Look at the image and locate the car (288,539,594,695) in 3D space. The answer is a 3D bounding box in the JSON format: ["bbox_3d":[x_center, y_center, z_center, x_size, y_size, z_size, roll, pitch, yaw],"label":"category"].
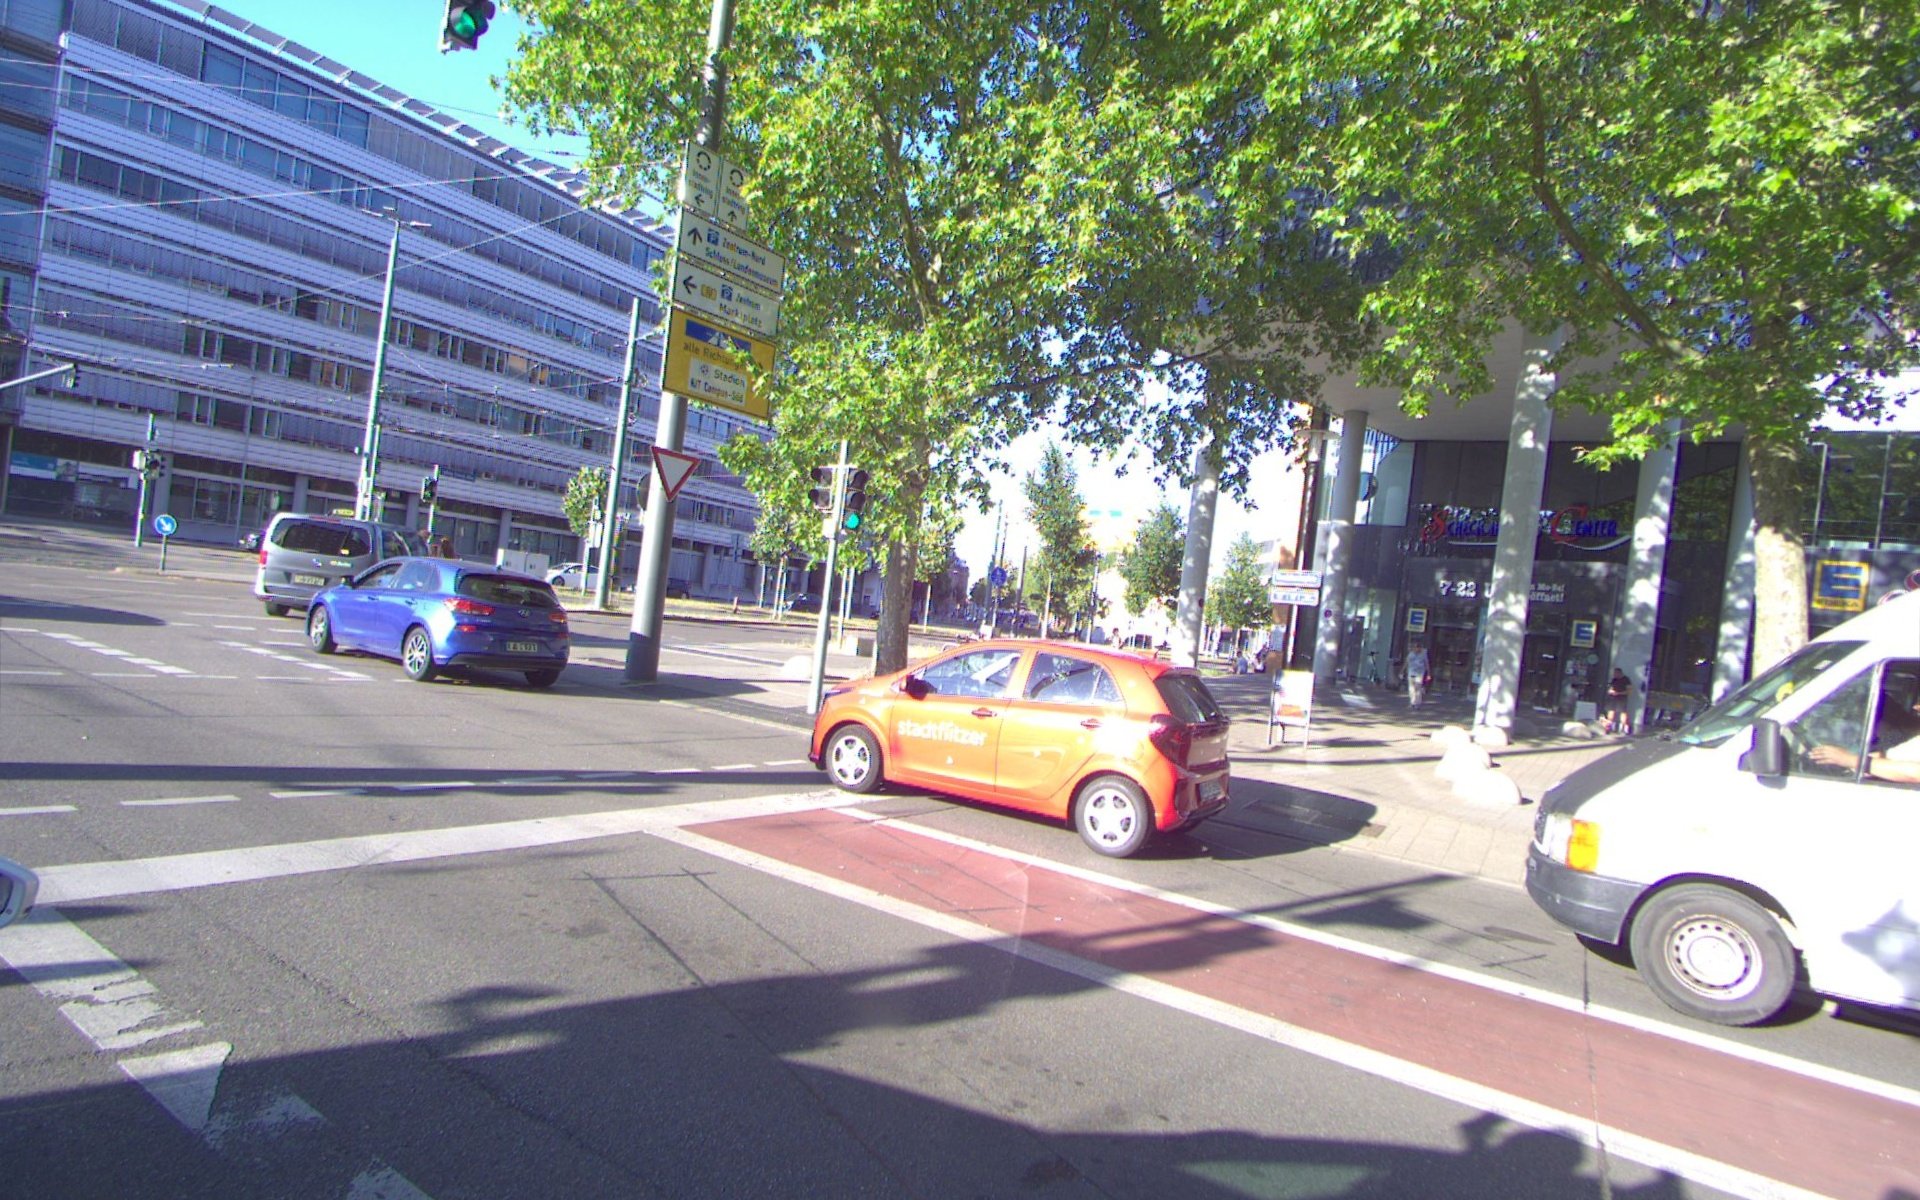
[{"bbox_3d":[-6.874,0.189,13.185,4.146,1.476,1.749,7,-1,36],"label":"car"}]

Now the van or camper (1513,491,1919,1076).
[{"bbox_3d":[6.401,1.115,4.684,6.390,2.647,2.002,7,0,32],"label":"van or camper"}]

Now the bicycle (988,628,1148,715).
[{"bbox_3d":[2.013,1.330,19.114,2.896,1.253,0.704,6,0,31],"label":"bicycle"}]

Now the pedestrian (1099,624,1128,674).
[{"bbox_3d":[5.210,1.666,34.133,0.569,1.612,0.595,7,0,32],"label":"pedestrian"}]

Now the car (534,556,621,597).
[{"bbox_3d":[-20.886,-1.243,55.033,1.852,1.614,3.991,6,-2,35],"label":"car"}]

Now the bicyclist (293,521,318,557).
[{"bbox_3d":[-30.076,-2.805,46.205,0.604,1.521,0.663,7,1,37],"label":"bicyclist"}]

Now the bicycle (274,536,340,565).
[{"bbox_3d":[-30.054,-2.274,46.362,0.627,1.035,2.410,7,0,36],"label":"bicycle"}]

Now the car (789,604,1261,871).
[{"bbox_3d":[0.476,1.013,8.447,3.537,1.476,1.493,7,-1,32],"label":"car"}]

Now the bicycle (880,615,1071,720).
[{"bbox_3d":[0.196,1.026,15.709,2.896,1.252,0.705,6,-1,31],"label":"bicycle"}]

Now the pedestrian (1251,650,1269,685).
[{"bbox_3d":[14.385,3.225,48.239,0.540,1.612,0.595,7,0,32],"label":"pedestrian"}]

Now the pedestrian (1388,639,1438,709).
[{"bbox_3d":[13.232,2.148,29.419,0.800,1.913,0.871,5,1,-16],"label":"pedestrian"}]

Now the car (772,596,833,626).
[{"bbox_3d":[-11.312,0.826,72.518,1.852,1.614,4.121,6,-2,35],"label":"car"}]

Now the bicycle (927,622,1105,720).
[{"bbox_3d":[0.903,1.173,16.963,2.897,1.252,0.705,6,-1,32],"label":"bicycle"}]

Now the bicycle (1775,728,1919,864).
[{"bbox_3d":[10.649,2.166,10.066,3.759,1.234,0.756,5,-2,38],"label":"bicycle"}]

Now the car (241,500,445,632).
[{"bbox_3d":[-11.391,-0.592,19.001,1.978,1.919,4.864,8,-1,-18],"label":"car"}]

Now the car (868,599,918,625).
[{"bbox_3d":[-5.494,1.003,83.306,1.852,1.614,4.121,6,-2,35],"label":"car"}]

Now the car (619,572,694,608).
[{"bbox_3d":[-18.953,-0.617,62.901,1.852,1.614,4.121,6,-2,35],"label":"car"}]

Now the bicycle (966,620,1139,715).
[{"bbox_3d":[1.584,1.160,17.653,2.897,1.250,0.697,6,-4,33],"label":"bicycle"}]

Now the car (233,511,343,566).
[{"bbox_3d":[-33.531,-3.043,50.297,1.967,2.037,3.995,6,-2,32],"label":"car"}]

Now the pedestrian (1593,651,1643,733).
[{"bbox_3d":[17.519,2.463,26.770,0.847,2.037,1.021,6,-1,38],"label":"pedestrian"}]

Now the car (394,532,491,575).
[{"bbox_3d":[-26.596,-2.385,51.817,1.769,1.569,3.990,6,-2,36],"label":"car"}]

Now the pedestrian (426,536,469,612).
[{"bbox_3d":[-12.664,-0.652,24.849,0.680,1.781,0.734,6,1,-38],"label":"pedestrian"}]

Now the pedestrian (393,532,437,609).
[{"bbox_3d":[-13.208,-0.720,24.384,0.674,1.781,0.734,6,1,-38],"label":"pedestrian"}]

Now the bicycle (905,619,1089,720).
[{"bbox_3d":[0.558,1.103,16.317,2.896,1.243,0.686,6,-1,31],"label":"bicycle"}]
